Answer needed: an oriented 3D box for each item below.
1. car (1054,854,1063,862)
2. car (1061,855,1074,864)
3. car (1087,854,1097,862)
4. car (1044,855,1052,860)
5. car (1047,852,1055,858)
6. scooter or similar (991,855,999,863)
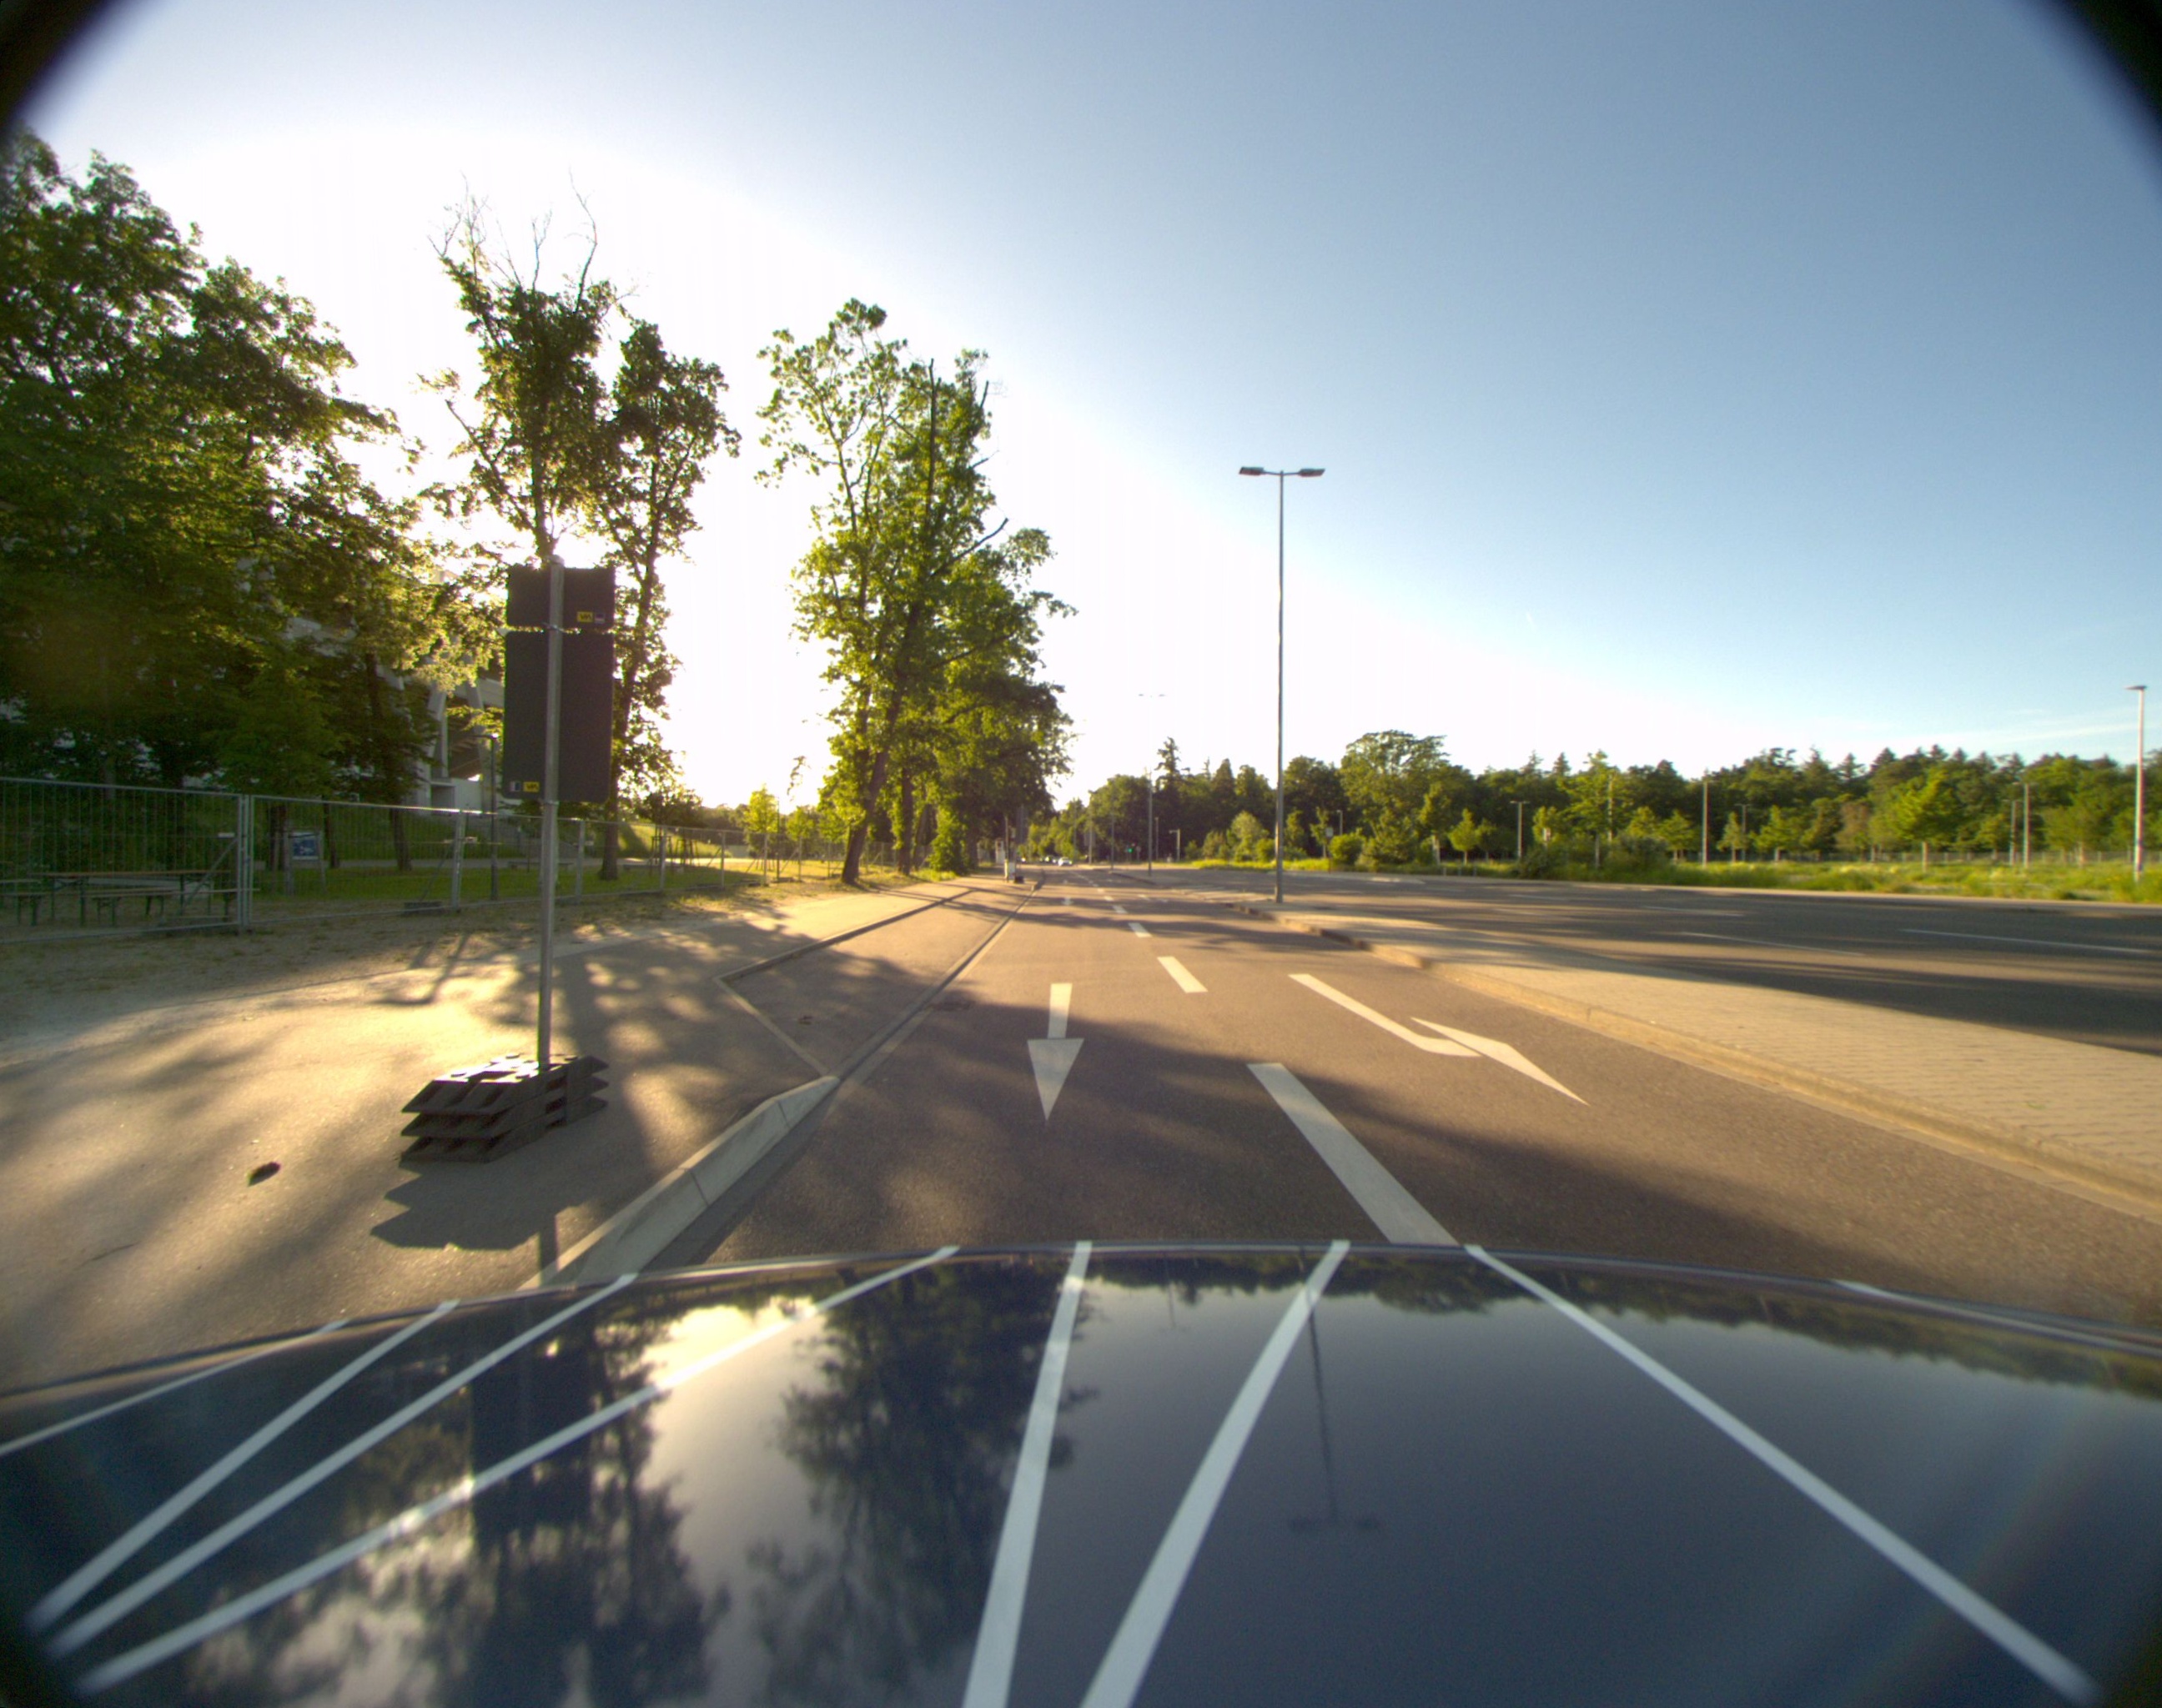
[{"bbox_3d":[-4.410,0.777,149.971,1.841,1.395,4.991,-1,0,-1],"label":"car"},{"bbox_3d":[-2.188,0.819,122.112,1.841,1.395,3.999,-1,0,-2],"label":"car"},{"bbox_3d":[2.429,0.953,168.658,1.788,1.682,4.701,-1,0,-3],"label":"car"},{"bbox_3d":[-9.451,0.891,216.423,1.842,1.395,4.989,-1,0,-5],"label":"car"},{"bbox_3d":[-7.215,0.262,184.296,1.841,1.395,4.991,0,0,-1],"label":"car"},{"bbox_3d":[-13.912,0.794,122.725,1.303,1.230,0.334,0,0,-38],"label":"scooter or similar"}]
